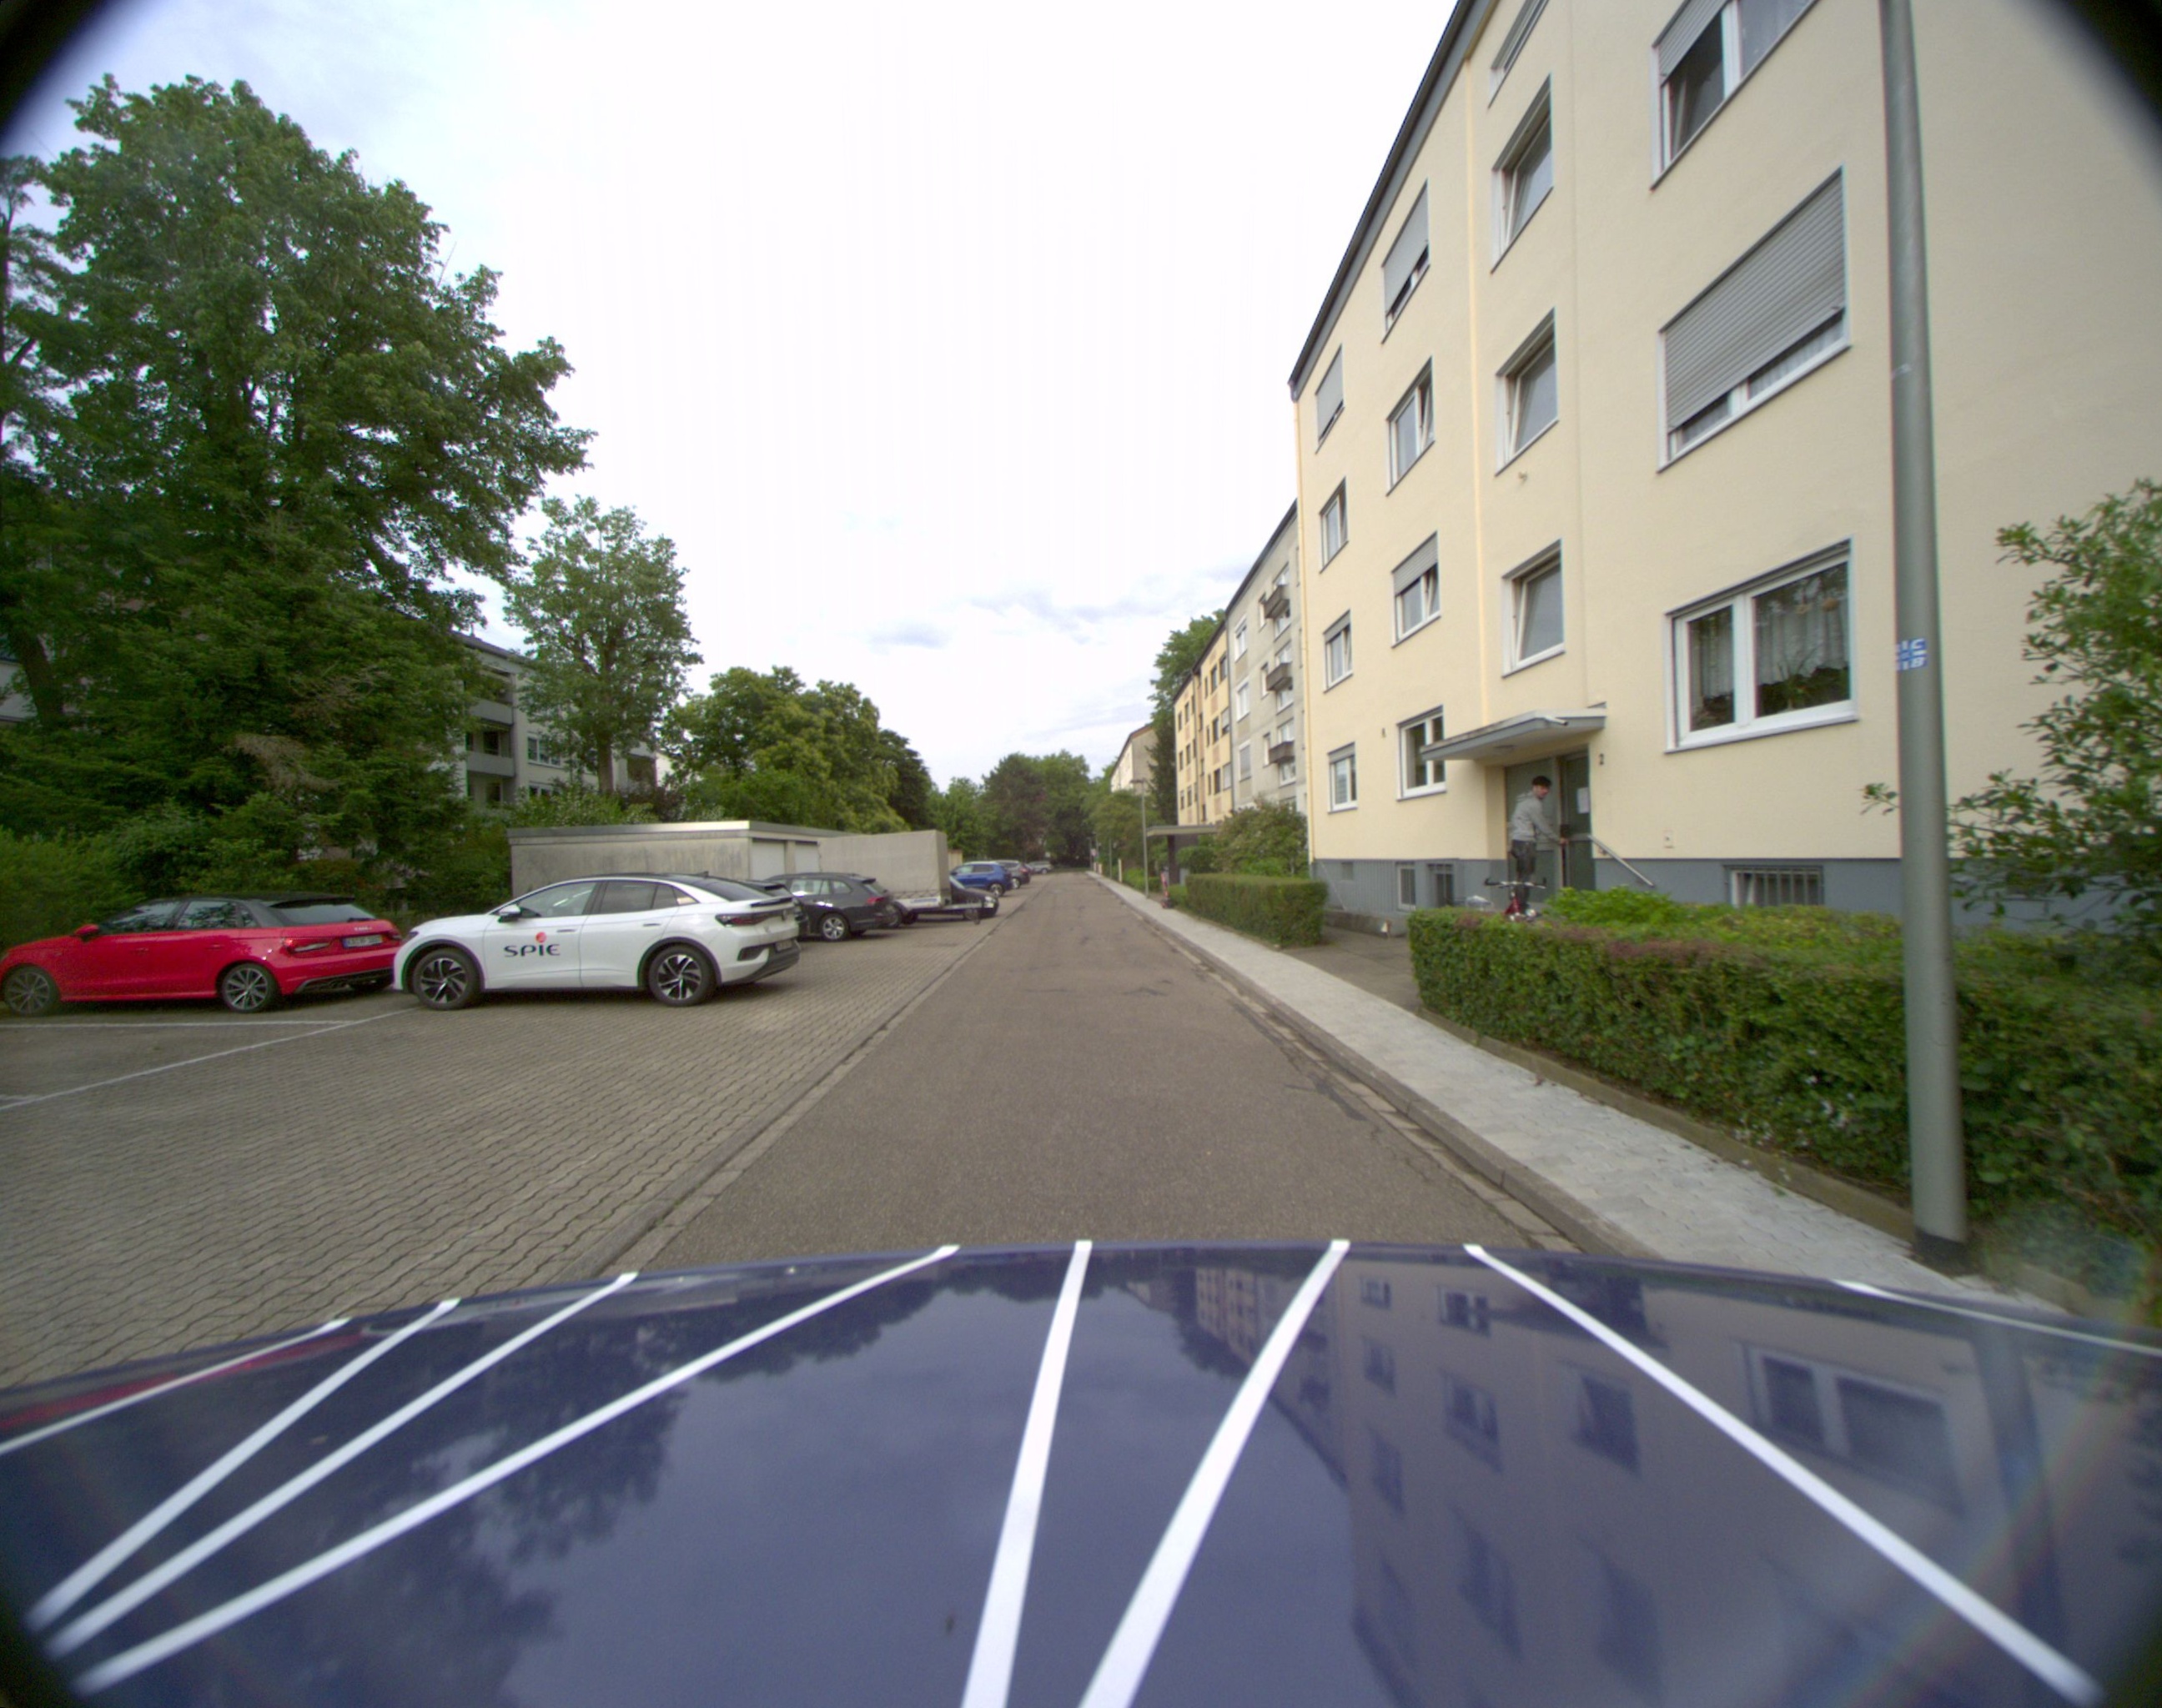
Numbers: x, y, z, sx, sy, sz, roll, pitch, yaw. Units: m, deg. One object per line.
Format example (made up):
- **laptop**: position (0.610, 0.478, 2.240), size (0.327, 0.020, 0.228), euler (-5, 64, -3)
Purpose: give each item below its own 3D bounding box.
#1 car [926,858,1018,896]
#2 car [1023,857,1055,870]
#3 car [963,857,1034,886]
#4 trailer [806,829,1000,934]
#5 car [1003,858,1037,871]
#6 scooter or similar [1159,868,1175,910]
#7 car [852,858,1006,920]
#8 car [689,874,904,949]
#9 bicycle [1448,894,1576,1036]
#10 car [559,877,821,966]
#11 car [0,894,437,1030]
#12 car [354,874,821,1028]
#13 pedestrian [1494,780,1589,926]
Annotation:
- **car**: position (-4.962, 1.044, 35.066), size (3.997, 1.693, 2.000), euler (0, 0, -1)
- **car**: position (-5.411, 1.212, 97.857), size (4.104, 1.636, 1.787), euler (0, 1, -2)
- **car**: position (-5.014, 1.046, 46.622), size (4.206, 1.717, 2.000), euler (0, 0, -1)
- **trailer**: position (-4.631, 0.700, 20.270), size (4.621, 2.510, 1.942), euler (-2, 0, 0)
- **car**: position (-7.443, 1.260, 92.707), size (4.104, 1.476, 1.787), euler (0, 1, -2)
- **scooter or similar**: position (2.559, 1.016, 22.592), size (0.273, 1.203, 1.164), euler (-2, 0, -1)
- **car**: position (-4.528, 1.024, 23.164), size (4.322, 1.791, 2.000), euler (0, 0, -1)
- **car**: position (-6.207, 1.244, 16.910), size (4.138, 1.440, 1.612), euler (-1, 0, -1)
- **bicycle**: position (3.863, 0.945, 6.920), size (0.319, 1.069, 1.418), euler (-3, 1, 0)
- **car**: position (-7.339, 1.243, 14.559), size (4.005, 1.440, 1.915), euler (-1, 0, 2)
- **car**: position (-11.011, 1.293, 9.654), size (3.908, 1.372, 1.971), euler (-2, 0, -1)
- **car**: position (-5.926, 1.128, 9.568), size (4.548, 1.579, 1.988), euler (-2, 0, 1)
- **pedestrian**: position (5.786, -0.010, 9.589), size (0.680, 1.739, 0.756), euler (-3, 1, 1)
